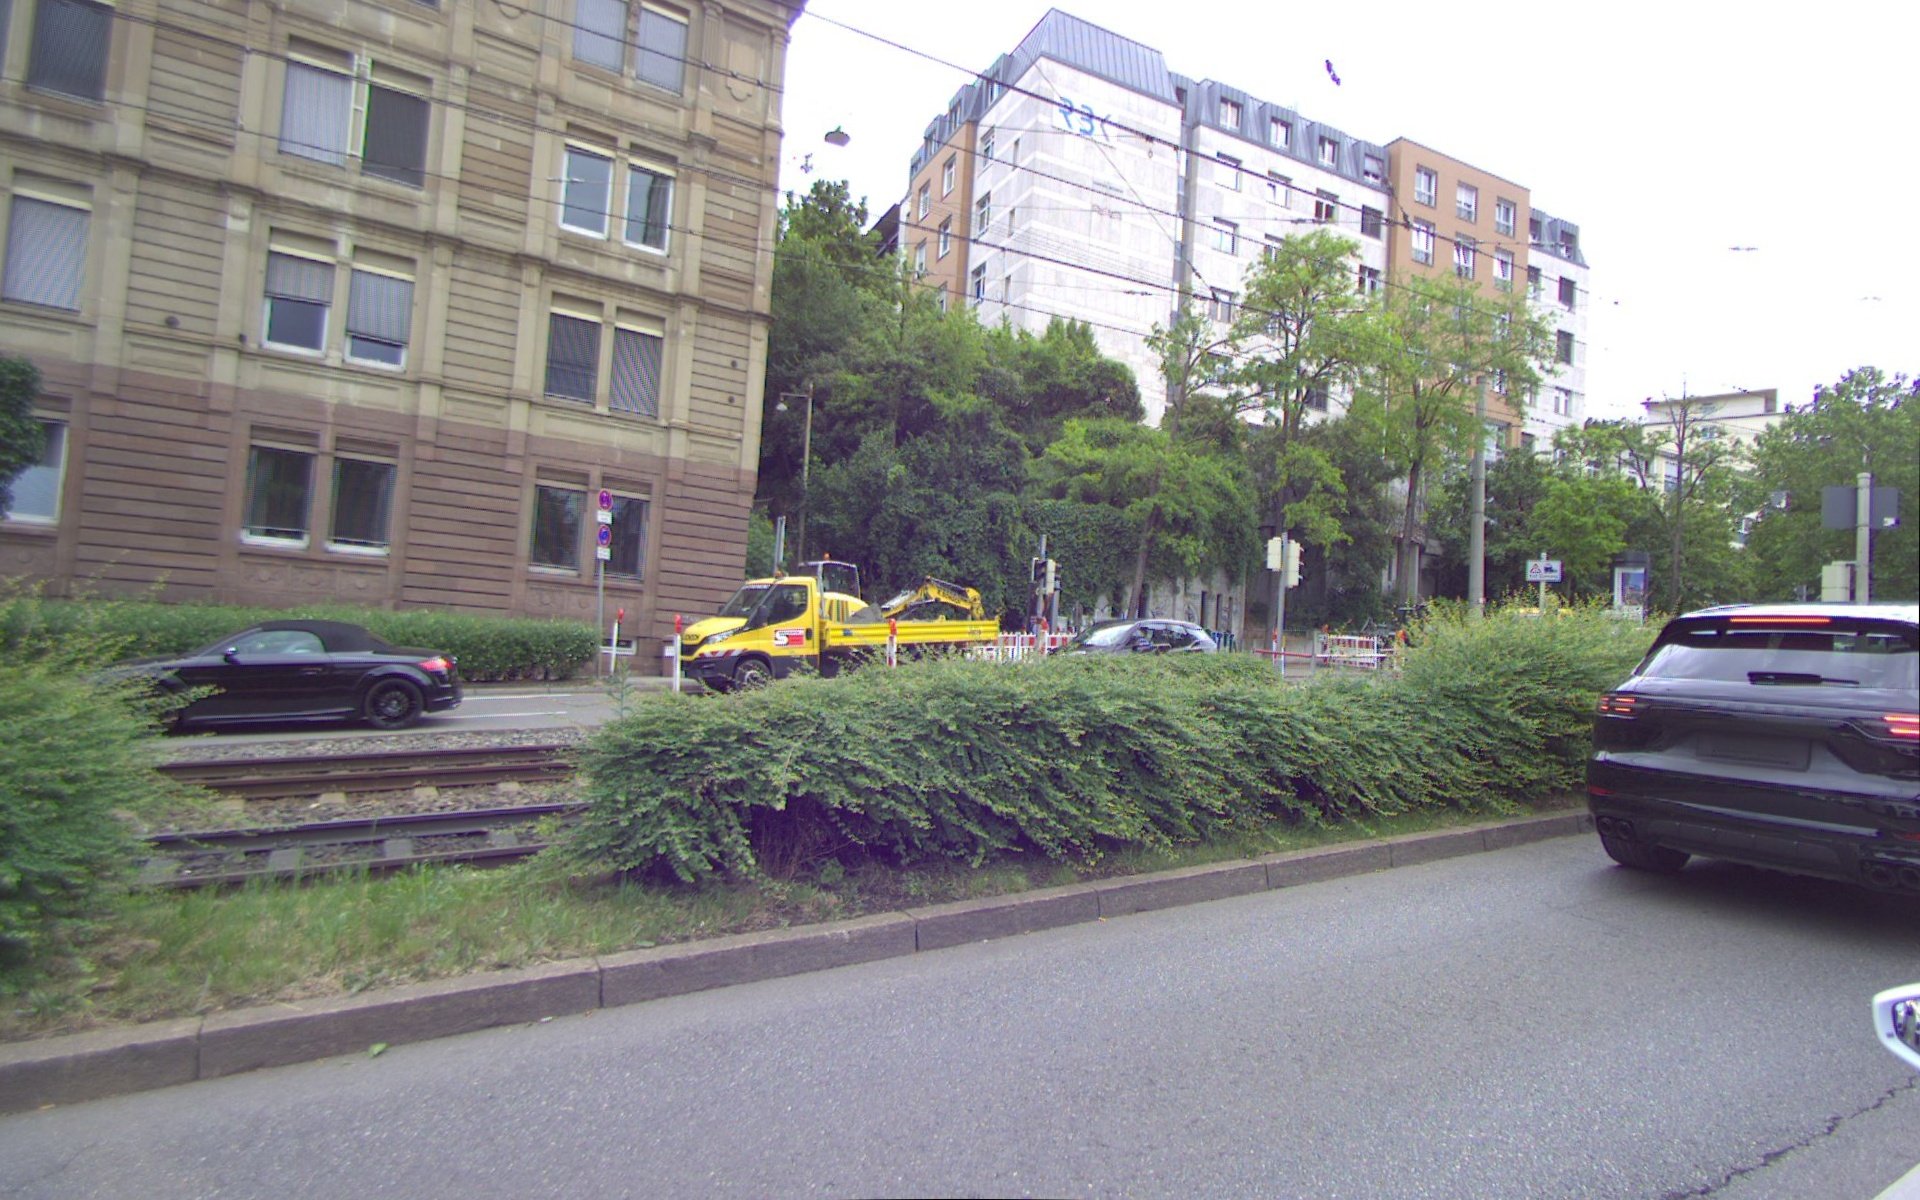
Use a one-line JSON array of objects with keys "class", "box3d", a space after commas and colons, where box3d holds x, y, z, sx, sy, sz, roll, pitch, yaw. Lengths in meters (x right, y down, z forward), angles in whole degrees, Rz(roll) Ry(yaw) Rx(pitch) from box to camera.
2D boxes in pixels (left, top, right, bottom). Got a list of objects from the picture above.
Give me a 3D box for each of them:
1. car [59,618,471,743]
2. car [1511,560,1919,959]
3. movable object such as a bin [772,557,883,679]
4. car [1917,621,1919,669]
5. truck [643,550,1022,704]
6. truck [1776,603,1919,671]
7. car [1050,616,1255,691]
[{"class": "car", "box3d": [-8.450, 0.931, 12.675, 4.017, 1.340, 1.732, 1, -1, -29]}, {"class": "car", "box3d": [5.735, 0.813, 6.212, 4.729, 1.707, 2.017, 4, -2, -32]}, {"class": "movable object such as a bin", "box3d": [-3.305, 0.465, 25.030, 2.010, 2.875, 1.980, 2, -2, -36]}, {"class": "car", "box3d": [41.962, 1.986, 41.789, 3.953, 2.040, 1.984, 5, 0, -29]}, {"class": "truck", "box3d": [-2.453, 0.693, 20.525, 7.081, 2.542, 2.900, 5, -4, -33]}, {"class": "truck", "box3d": [33.178, 1.391, 37.327, 5.964, 2.198, 2.410, 3, 0, -30]}, {"class": "car", "box3d": [3.908, 1.031, 20.191, 4.024, 1.340, 1.729, 2, -1, -34]}]
